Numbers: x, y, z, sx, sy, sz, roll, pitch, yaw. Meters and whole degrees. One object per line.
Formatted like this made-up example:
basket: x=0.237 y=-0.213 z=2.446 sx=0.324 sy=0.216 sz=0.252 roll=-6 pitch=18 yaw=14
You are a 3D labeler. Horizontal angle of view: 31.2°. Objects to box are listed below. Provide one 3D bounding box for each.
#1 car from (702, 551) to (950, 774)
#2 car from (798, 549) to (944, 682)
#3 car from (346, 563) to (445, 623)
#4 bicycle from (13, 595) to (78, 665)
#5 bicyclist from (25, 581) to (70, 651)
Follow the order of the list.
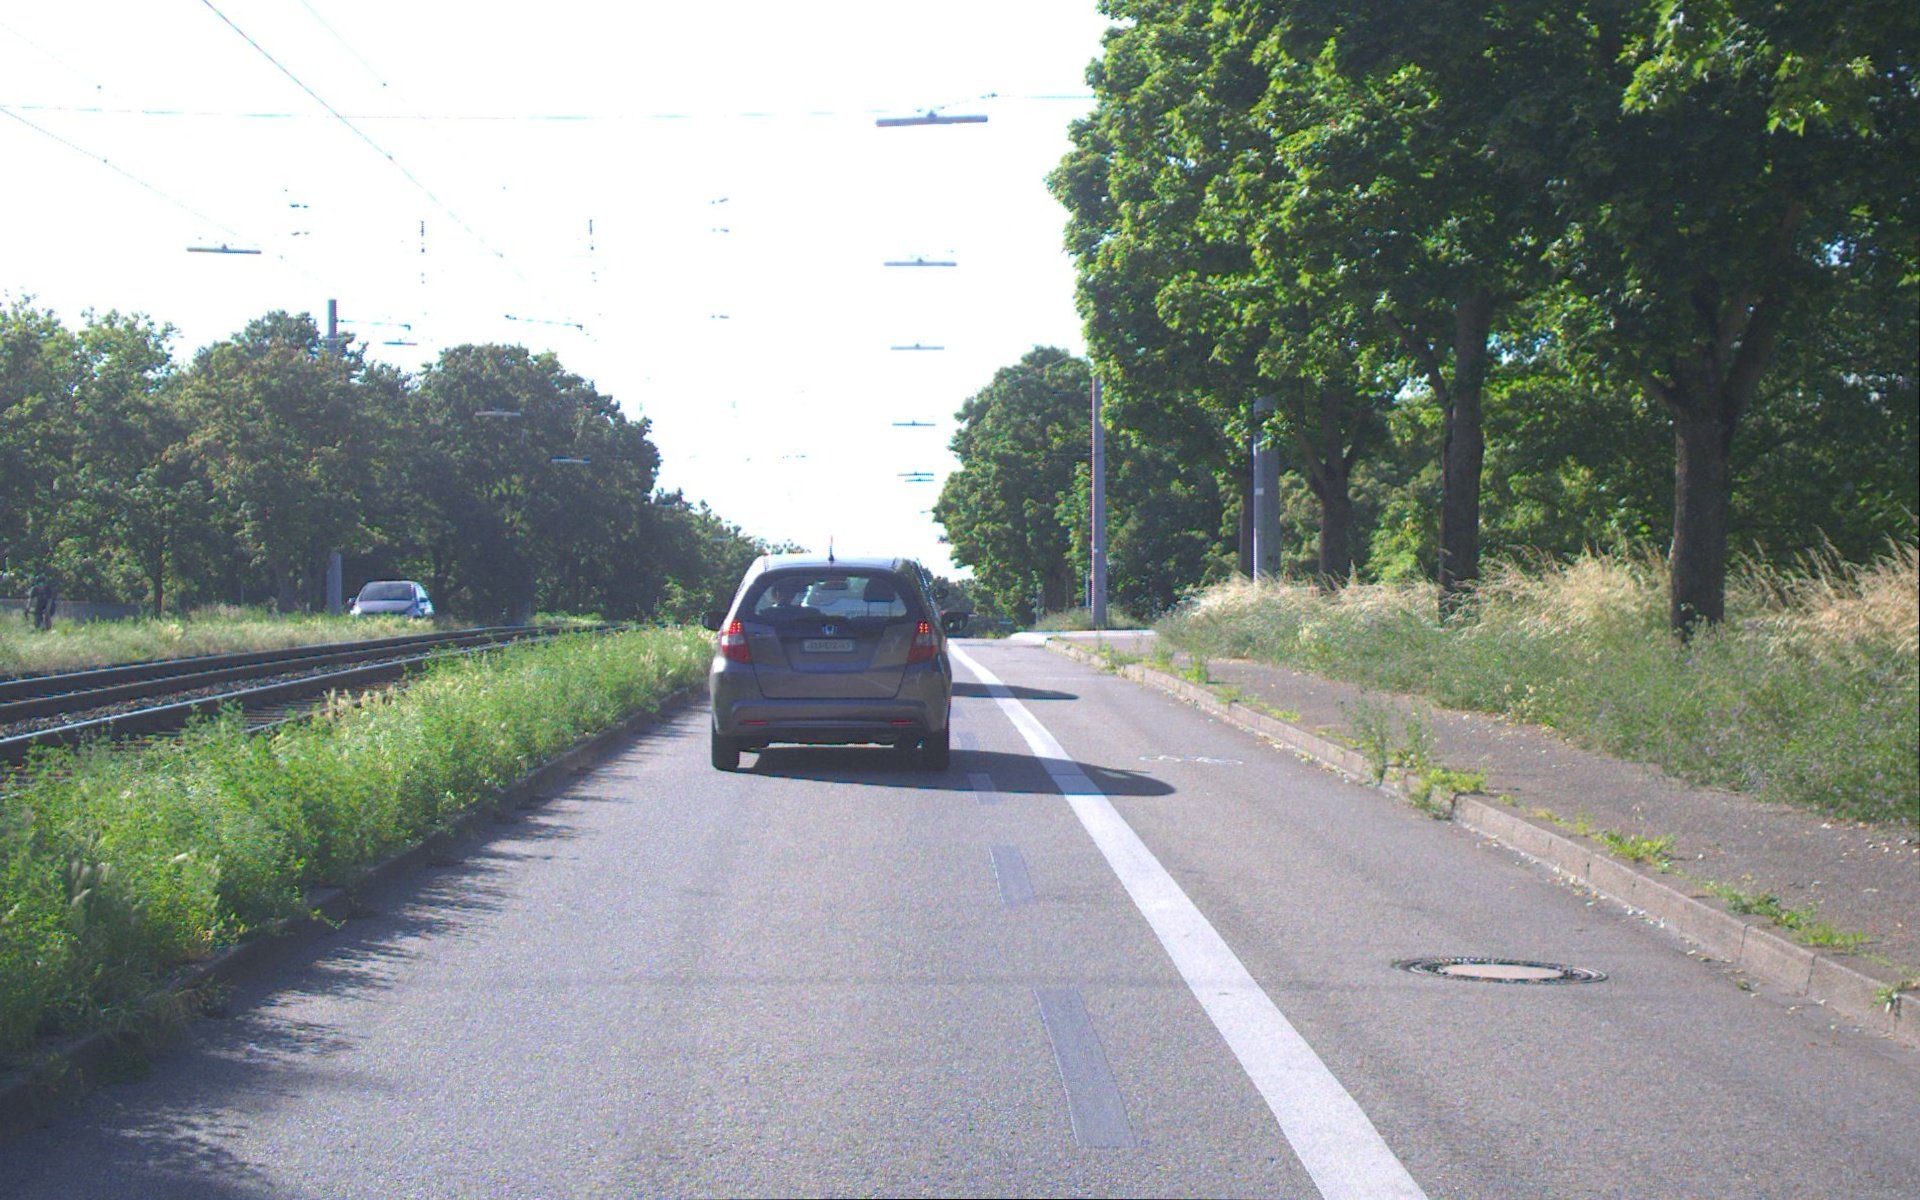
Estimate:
car: x=-0.916 y=0.397 z=25.160 sx=1.670 sy=1.502 sz=3.811 roll=0 pitch=1 yaw=0
car: x=-1.039 y=0.150 z=41.635 sx=1.654 sy=1.502 sz=3.811 roll=1 pitch=1 yaw=0
car: x=-14.634 y=-0.196 z=89.322 sx=1.809 sy=1.483 sz=4.406 roll=1 pitch=1 yaw=0
bicycle: x=-17.448 y=0.560 z=65.615 sx=0.590 sy=1.257 sz=2.427 roll=1 pitch=1 yaw=0
bicyclist: x=-17.428 y=0.294 z=65.686 sx=0.582 sy=1.306 sz=0.987 roll=1 pitch=1 yaw=0
